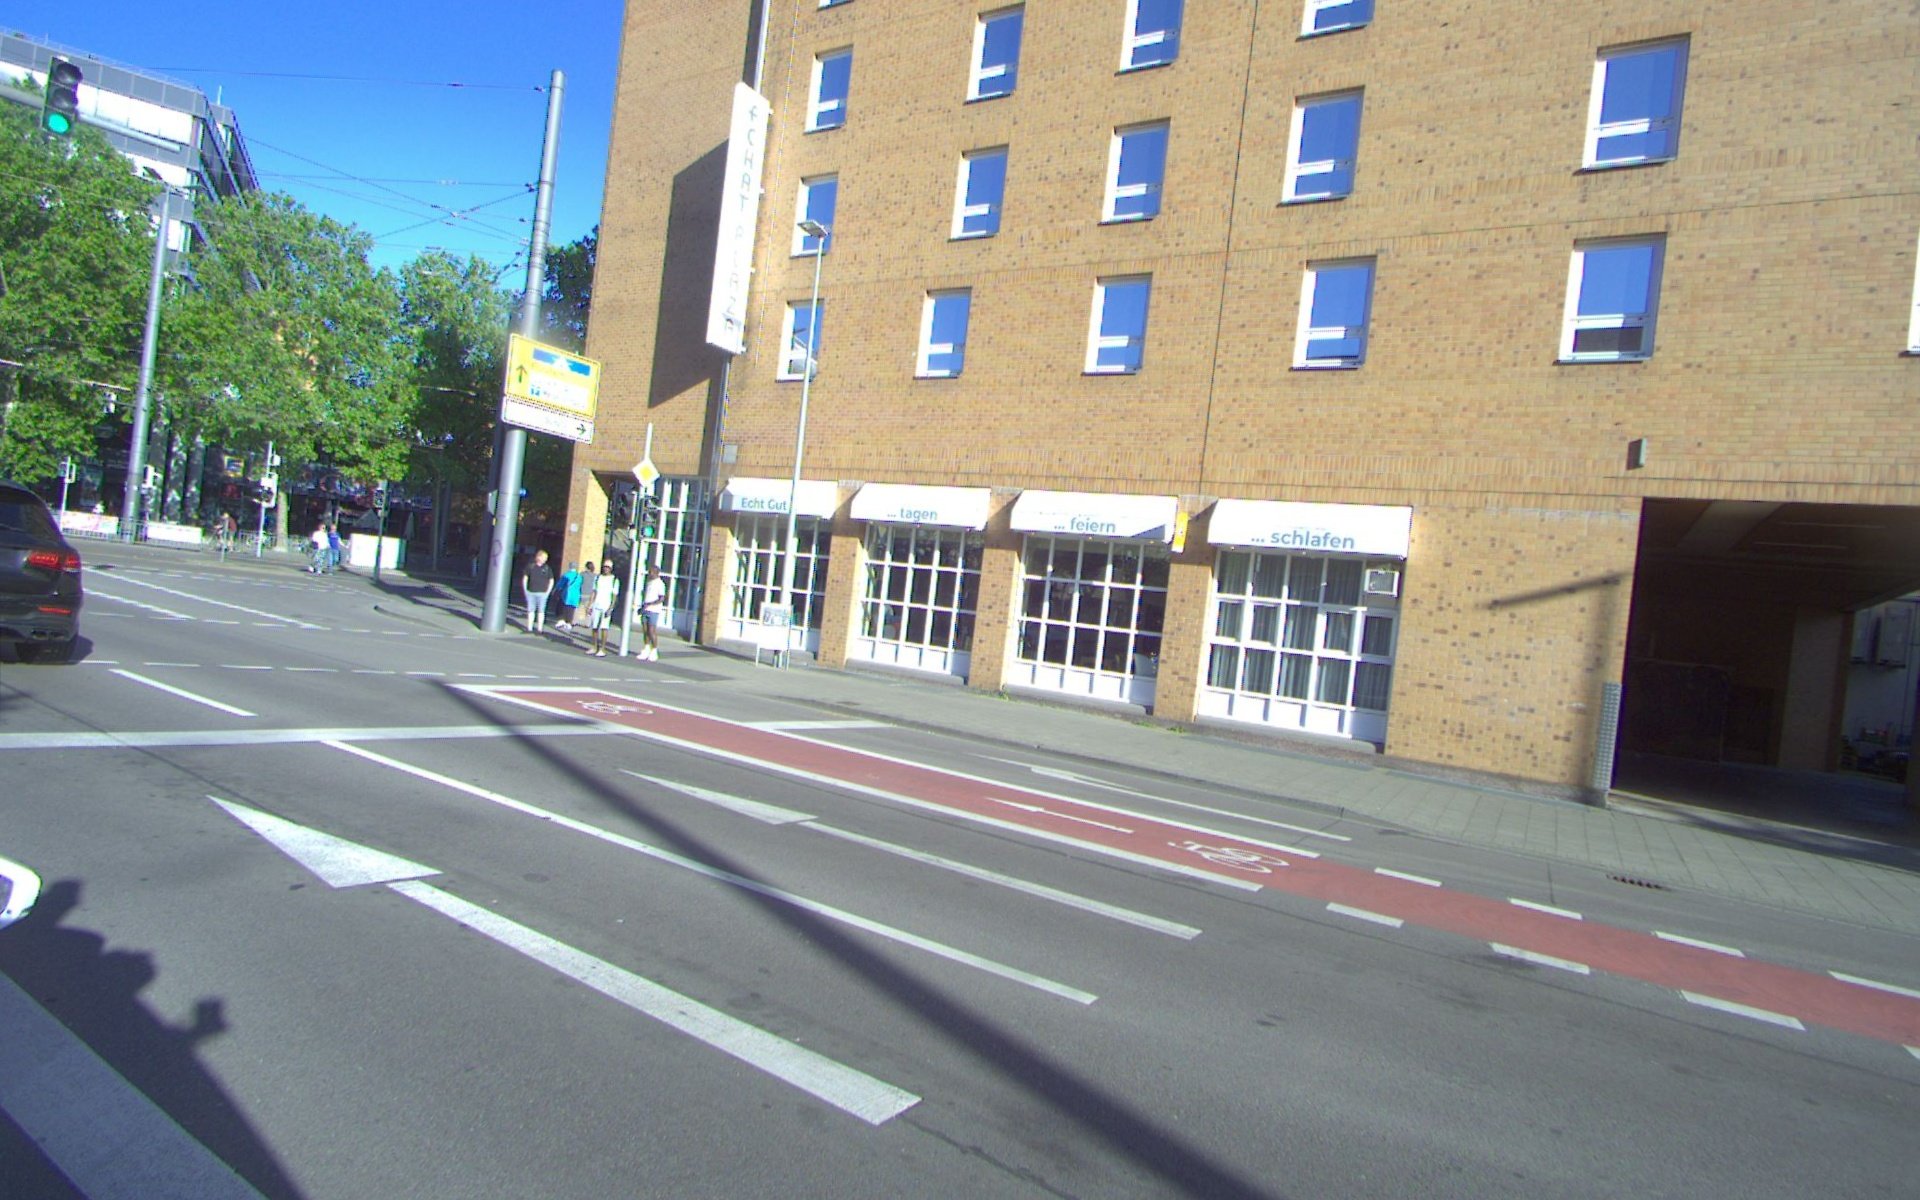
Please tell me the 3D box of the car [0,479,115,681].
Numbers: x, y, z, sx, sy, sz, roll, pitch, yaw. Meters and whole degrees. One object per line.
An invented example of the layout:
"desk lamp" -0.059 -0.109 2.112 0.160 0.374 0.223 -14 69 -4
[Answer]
"car" -9.831 -0.413 9.203 4.379 1.613 1.807 7 -2 32

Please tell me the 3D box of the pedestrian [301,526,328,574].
"pedestrian" -21.955 -1.707 34.205 0.563 1.550 0.695 8 -2 -37

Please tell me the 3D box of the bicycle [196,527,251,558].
"bicycle" -36.311 -2.818 49.624 0.414 1.228 2.046 6 -2 32

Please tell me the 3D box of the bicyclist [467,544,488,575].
"bicyclist" -25.543 -2.119 53.276 0.558 1.536 0.632 6 -1 37

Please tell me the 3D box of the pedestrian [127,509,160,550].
"pedestrian" -37.753 -3.271 46.529 0.747 1.724 0.834 6 -1 32

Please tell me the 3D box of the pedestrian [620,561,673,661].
"pedestrian" -5.955 0.214 19.122 0.583 1.802 0.682 6 0 6

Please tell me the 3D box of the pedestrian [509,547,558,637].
"pedestrian" -9.091 -0.163 21.470 0.726 1.813 0.510 7 -1 -19

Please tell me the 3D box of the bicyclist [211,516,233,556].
"bicyclist" -36.345 -3.142 49.523 0.396 1.859 0.585 6 -1 31

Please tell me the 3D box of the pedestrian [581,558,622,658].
"pedestrian" -6.797 0.149 19.045 0.586 1.804 0.678 4 3 -21

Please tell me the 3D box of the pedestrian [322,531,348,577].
"pedestrian" -21.583 -1.593 34.729 0.563 1.496 0.695 8 -2 -37

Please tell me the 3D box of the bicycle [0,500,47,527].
"bicycle" -49.190 -4.537 52.741 0.354 1.058 1.885 7 -2 31

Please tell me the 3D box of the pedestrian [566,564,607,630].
"pedestrian" -8.934 -0.059 24.074 0.543 1.495 0.593 6 0 32

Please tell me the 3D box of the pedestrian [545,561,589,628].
"pedestrian" -9.156 -0.117 23.444 0.591 1.470 0.593 6 0 32

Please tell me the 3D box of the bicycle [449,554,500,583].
"bicycle" -25.642 -1.633 53.204 0.559 1.191 2.324 6 -3 36
